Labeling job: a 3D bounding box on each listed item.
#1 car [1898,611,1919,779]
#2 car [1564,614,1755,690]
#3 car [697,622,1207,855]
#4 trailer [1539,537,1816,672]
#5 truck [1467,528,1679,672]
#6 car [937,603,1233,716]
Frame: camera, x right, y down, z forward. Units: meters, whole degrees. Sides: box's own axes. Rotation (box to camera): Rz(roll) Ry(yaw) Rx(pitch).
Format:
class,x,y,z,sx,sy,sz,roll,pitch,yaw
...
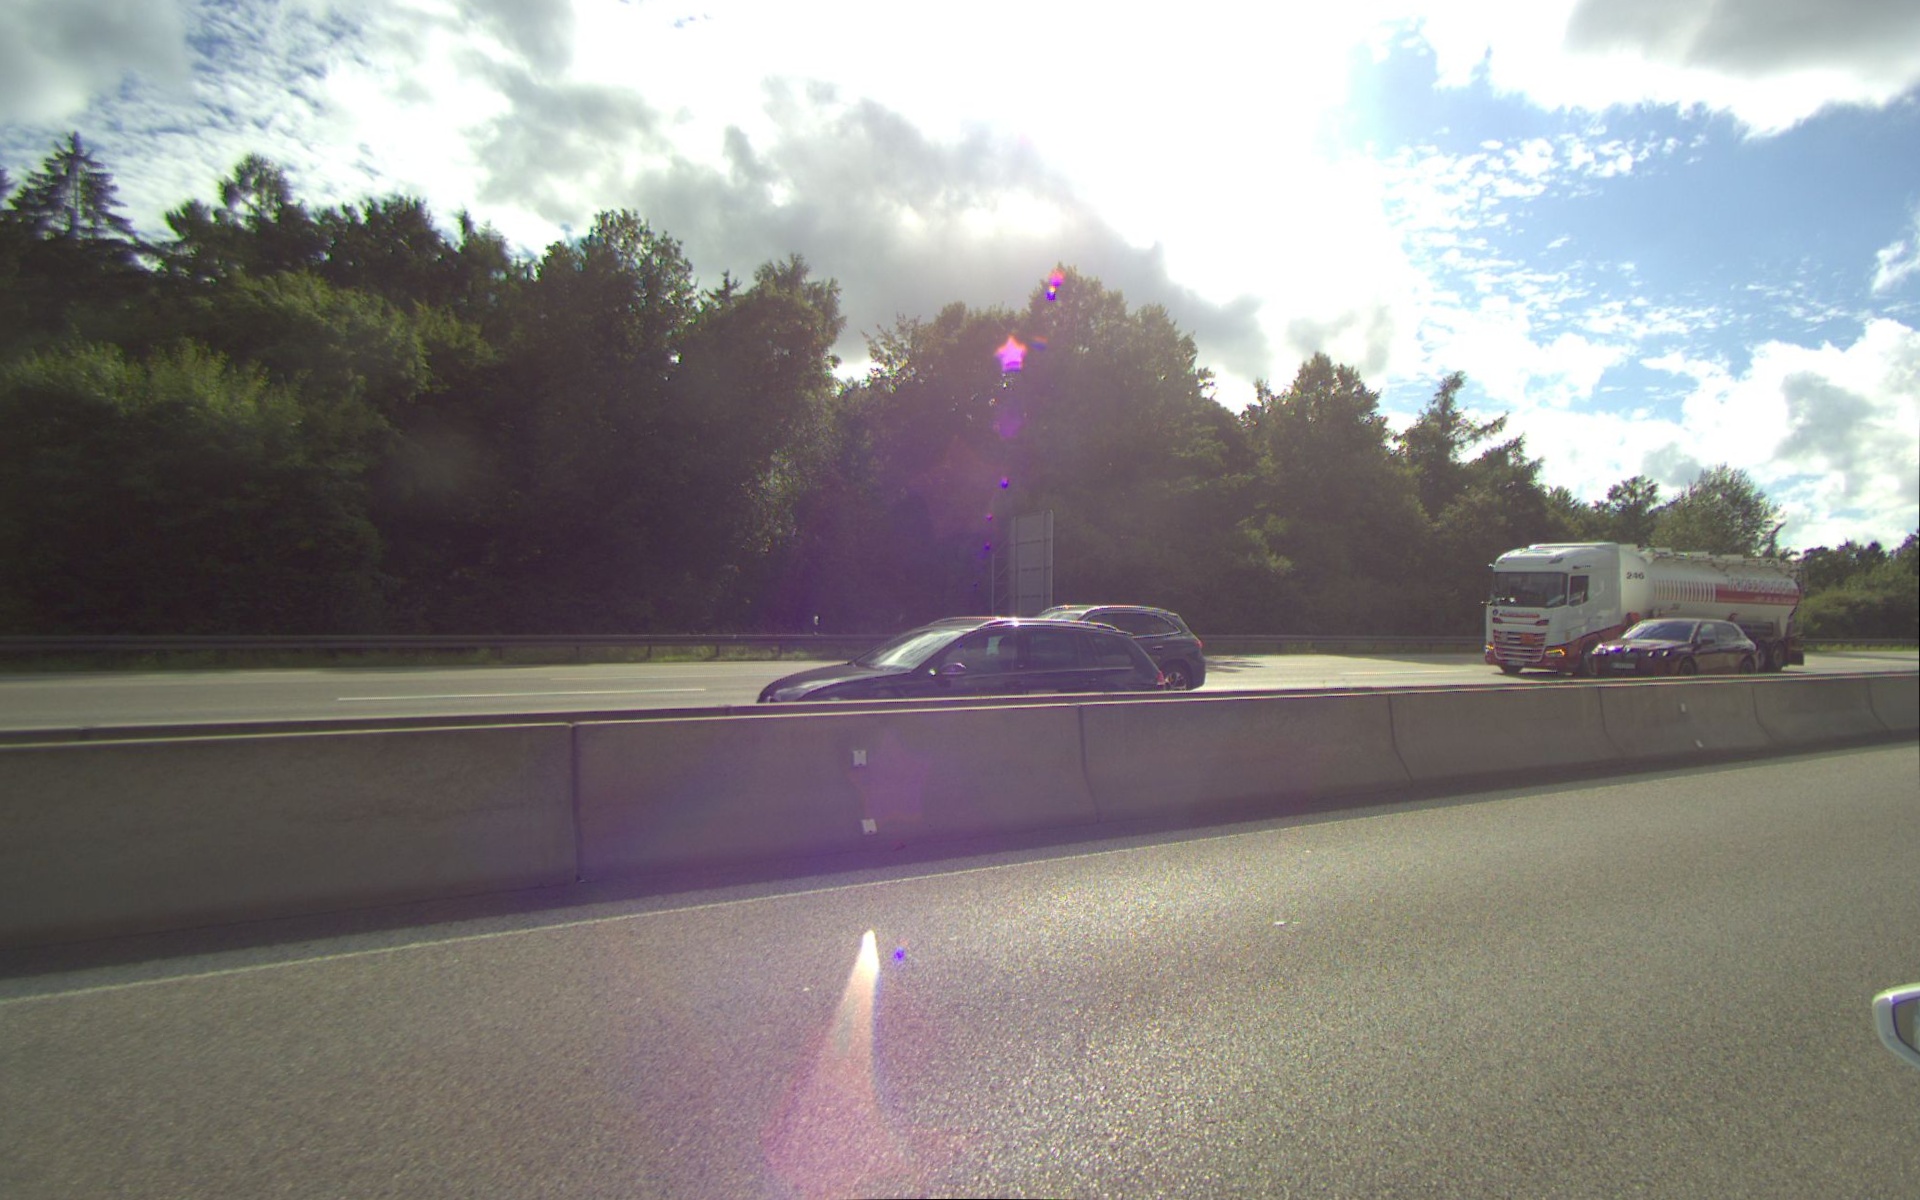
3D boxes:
class,x,y,z,sx,sy,sz,roll,pitch,yaw
car,12.061,0.989,10.434,5.239,1.638,1.996,1,0,-31
car,17.059,1.216,24.432,5.150,1.692,1.846,1,-1,-30
car,0.002,1.213,10.503,4.923,1.903,2.160,1,-1,-31
trailer,24.423,0.265,33.842,12.106,3.998,2.775,1,-1,-30
truck,18.697,0.067,30.580,6.368,3.998,2.775,1,-1,-30
car,2.120,0.913,16.545,4.693,1.641,1.851,1,-1,-31
